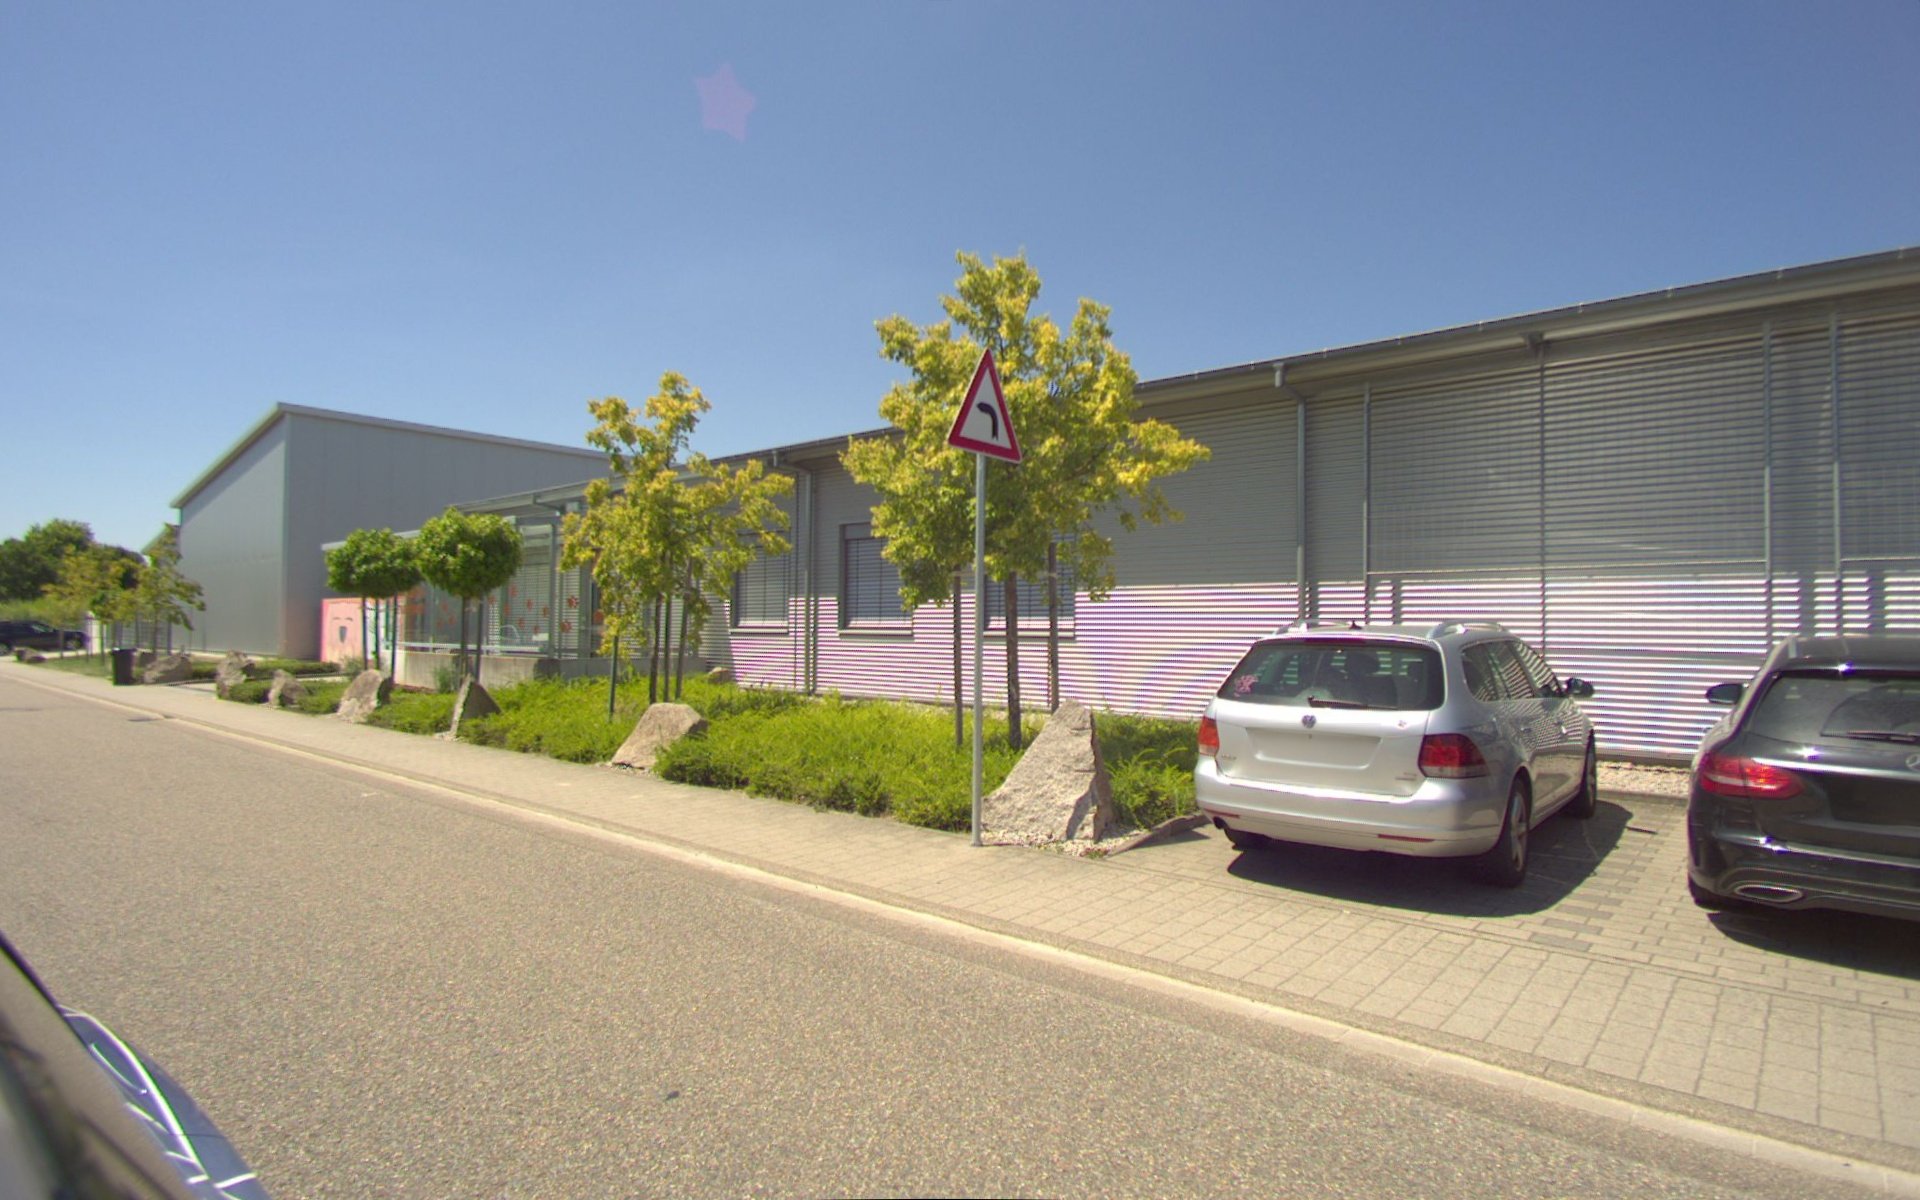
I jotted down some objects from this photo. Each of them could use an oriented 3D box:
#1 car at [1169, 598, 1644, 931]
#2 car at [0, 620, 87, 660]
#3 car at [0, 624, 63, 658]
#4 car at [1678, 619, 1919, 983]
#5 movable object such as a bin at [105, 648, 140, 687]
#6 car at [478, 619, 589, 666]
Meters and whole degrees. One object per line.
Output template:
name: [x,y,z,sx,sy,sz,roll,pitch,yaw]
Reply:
car: [3.271,0.817,6.893,1.865,1.529,4.219,-1,-2,40]
car: [-46.100,1.972,50.078,1.781,1.671,4.120,-1,3,41]
car: [-47.958,2.095,51.362,1.779,1.472,3.329,-1,3,38]
car: [5.355,0.846,5.519,1.846,1.442,4.262,-1,-2,42]
movable object such as a bin: [-21.249,1.700,25.690,0.511,0.957,0.565,-1,-2,36]
car: [-15.365,1.512,36.438,3.991,1.596,1.890,-2,-2,36]
